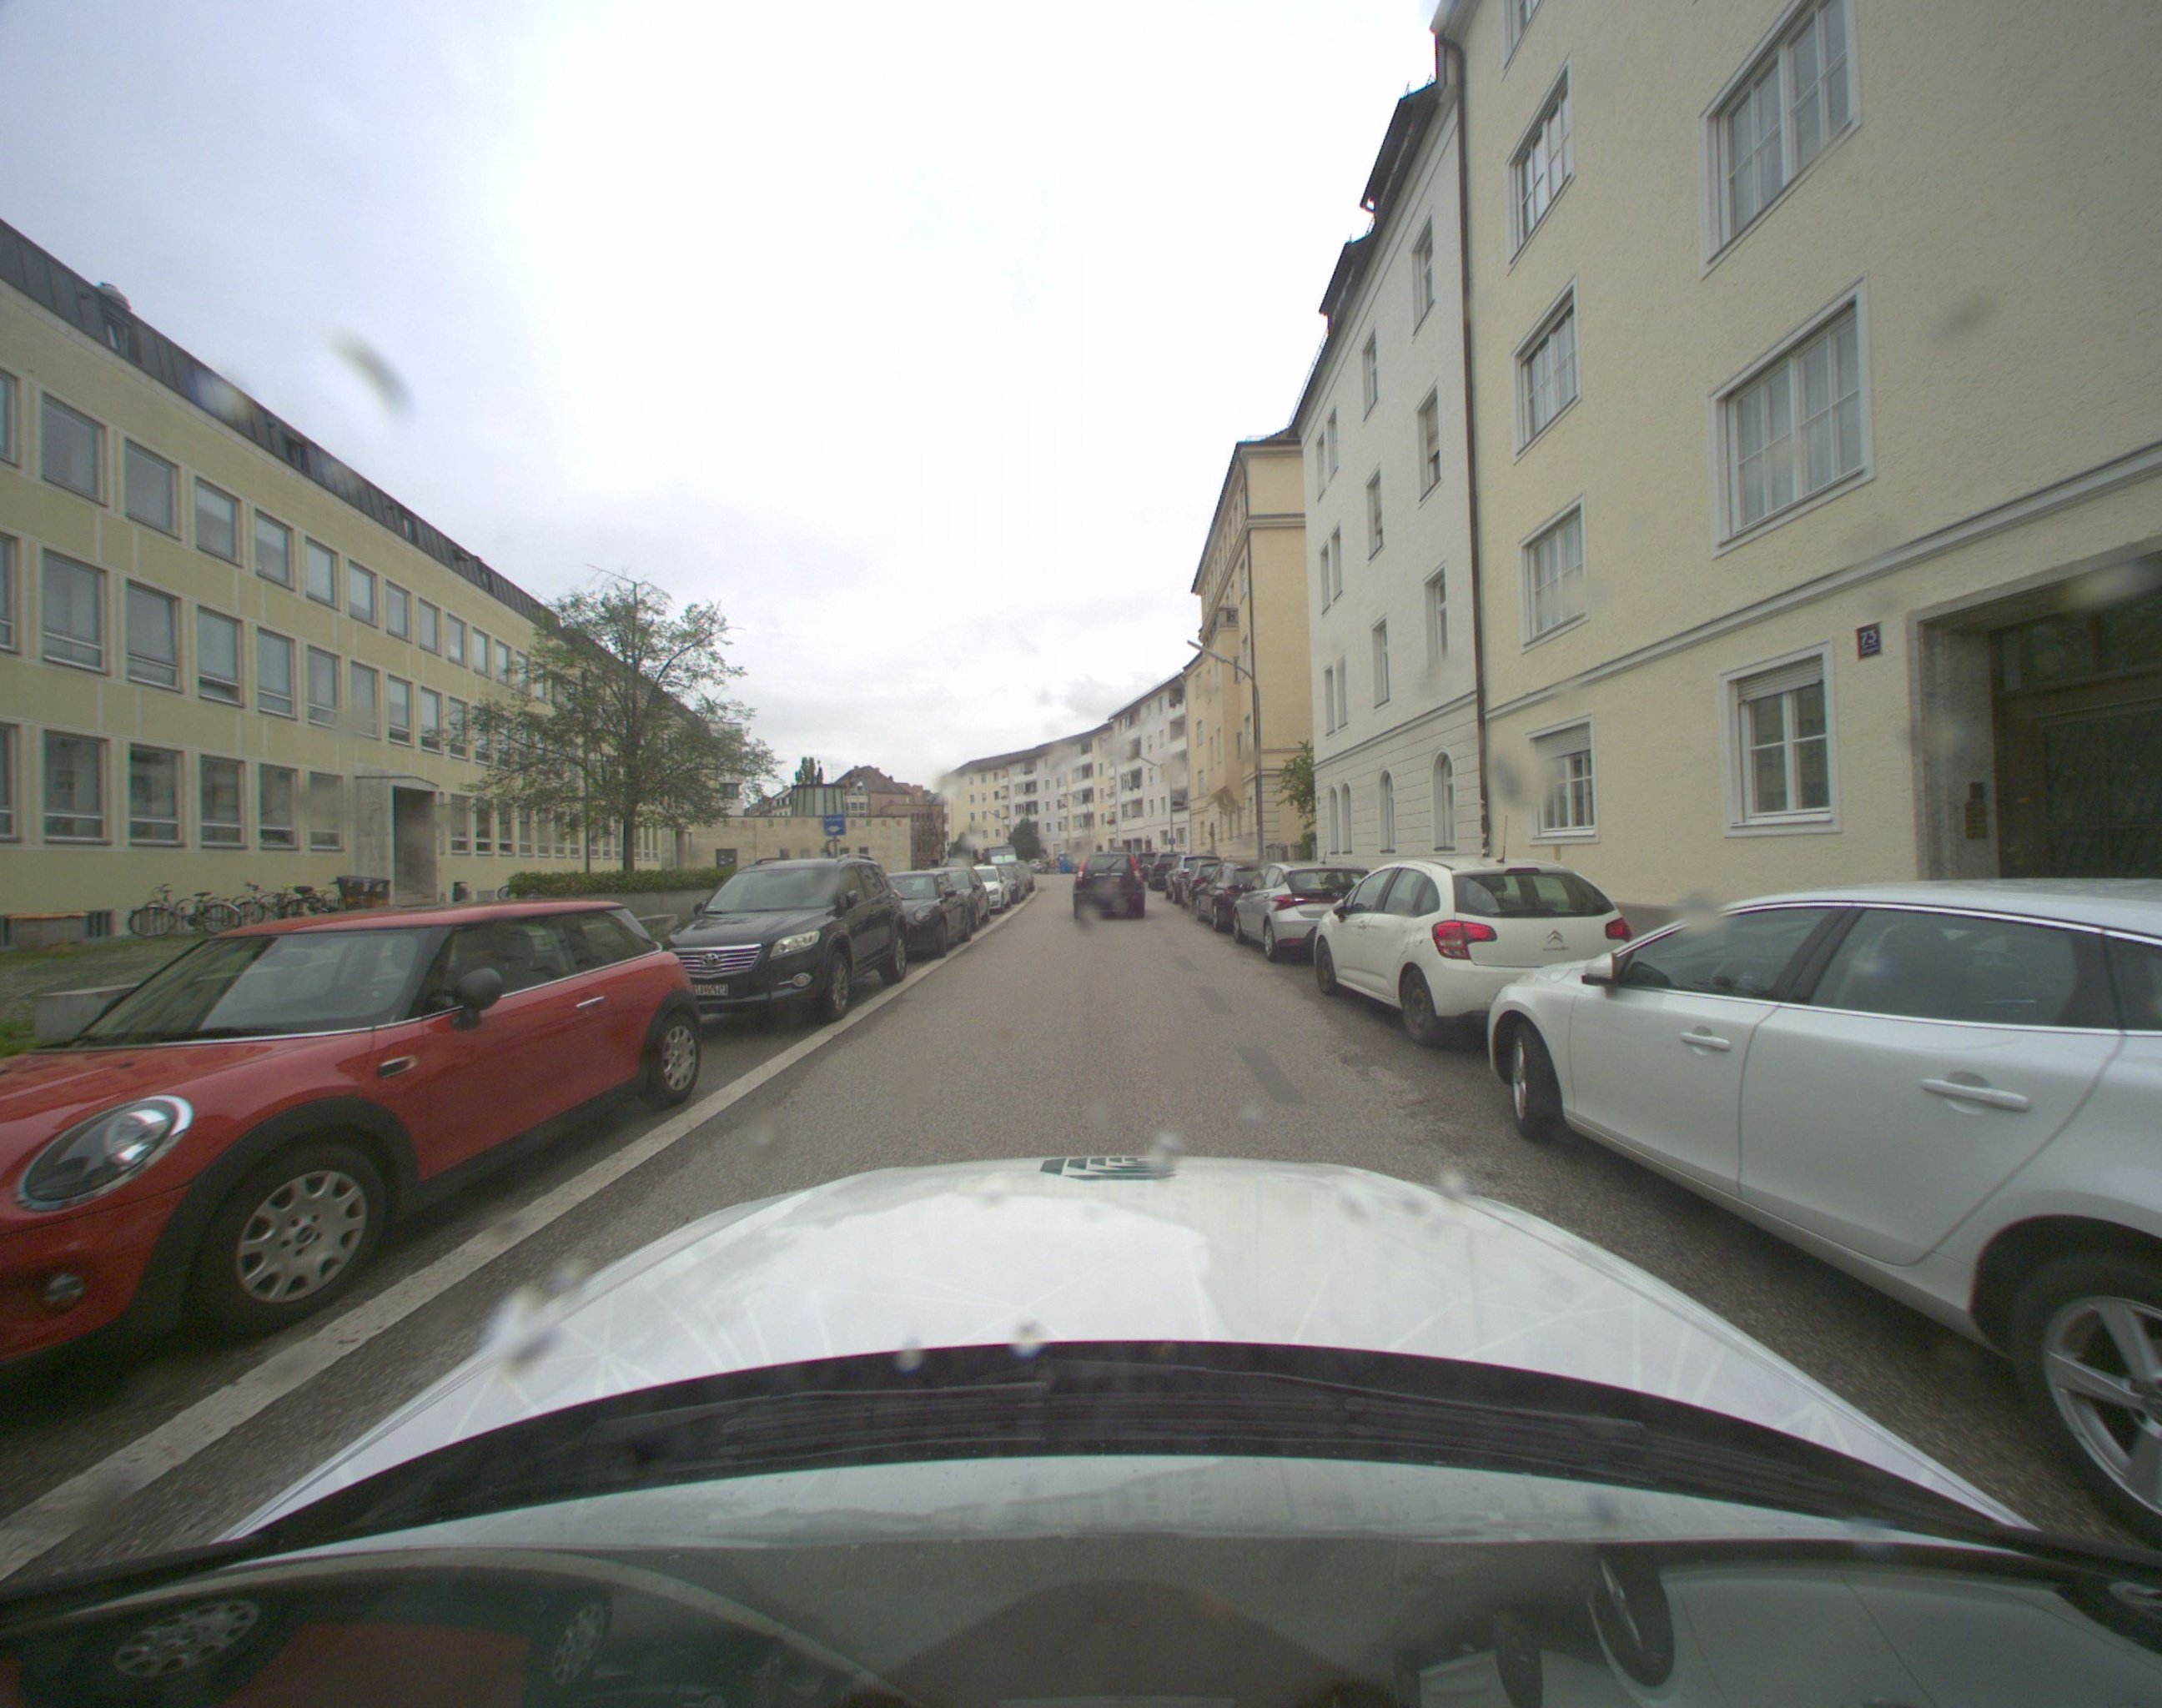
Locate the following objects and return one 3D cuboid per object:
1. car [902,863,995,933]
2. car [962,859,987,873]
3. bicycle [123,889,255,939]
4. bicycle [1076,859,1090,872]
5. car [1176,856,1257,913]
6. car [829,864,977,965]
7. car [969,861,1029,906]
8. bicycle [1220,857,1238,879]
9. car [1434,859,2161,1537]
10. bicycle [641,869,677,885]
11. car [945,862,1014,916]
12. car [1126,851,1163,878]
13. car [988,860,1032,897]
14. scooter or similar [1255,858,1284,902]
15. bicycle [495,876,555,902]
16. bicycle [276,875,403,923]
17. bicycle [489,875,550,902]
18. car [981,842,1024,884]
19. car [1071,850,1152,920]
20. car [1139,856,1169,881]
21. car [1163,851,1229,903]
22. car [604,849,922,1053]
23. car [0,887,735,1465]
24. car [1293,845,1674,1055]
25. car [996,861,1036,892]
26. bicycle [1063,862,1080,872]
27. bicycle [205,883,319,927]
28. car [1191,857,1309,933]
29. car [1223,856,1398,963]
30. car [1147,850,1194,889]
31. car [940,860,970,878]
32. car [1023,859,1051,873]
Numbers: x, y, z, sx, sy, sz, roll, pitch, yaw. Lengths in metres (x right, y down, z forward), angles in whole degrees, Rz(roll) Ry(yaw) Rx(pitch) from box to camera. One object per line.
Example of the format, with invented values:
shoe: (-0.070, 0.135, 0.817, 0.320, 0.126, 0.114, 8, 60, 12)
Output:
car: (-3.145, 0.992, 20.023, 1.652, 1.453, 3.972, -3, 0, -1)
car: (-14.270, 1.598, 109.051, 1.736, 1.878, 3.959, 0, 0, -32)
bicycle: (-20.075, 1.335, 18.372, 1.950, 1.014, 0.622, -1, 0, -16)
bicycle: (0.201, 1.259, 87.232, 0.970, 1.388, 2.551, -1, -1, -14)
car: (3.770, 0.813, 23.224, 1.673, 1.427, 4.088, -1, -1, 1)
car: (-3.028, 0.963, 14.640, 1.674, 1.453, 3.870, -3, 0, 1)
car: (-3.032, 1.054, 30.754, 1.749, 1.453, 4.395, -3, 0, 0)
bicycle: (7.808, 0.714, 42.970, 0.577, 1.083, 1.954, -4, 0, 2)
car: (3.151, 0.744, 3.173, 1.673, 1.410, 4.443, -1, -1, 1)
bicycle: (-27.768, 1.525, 53.620, 1.949, 1.014, 0.623, -1, 0, -13)
car: (-3.106, 1.040, 25.546, 1.652, 1.453, 4.070, -3, 0, -1)
car: (4.264, 0.696, 55.232, 1.776, 1.807, 4.266, 0, -1, -7)
car: (-3.072, 1.037, 35.817, 1.652, 1.453, 3.310, -3, 0, -1)
scooter or similar: (5.198, 0.712, 22.509, 0.483, 1.164, 1.172, -1, -1, -1)
bicycle: (-23.162, 1.436, 33.971, 1.948, 1.014, 0.623, -1, 0, -13)
bicycle: (-21.119, 1.253, 23.254, 2.439, 1.248, 1.051, -1, 0, -16)
bicycle: (-22.860, 1.395, 33.198, 1.946, 1.014, 0.623, -1, 0, -9)
car: (-5.570, 0.608, 56.926, 2.166, 2.641, 5.991, -3, 0, -12)
car: (0.717, 0.764, 21.707, 1.886, 1.647, 3.988, -1, -1, -2)
car: (4.445, 0.879, 50.316, 1.701, 1.447, 3.832, 0, -1, 3)
car: (3.901, 0.746, 28.308, 1.716, 1.634, 4.458, -1, -1, 1)
car: (-3.250, 0.868, 9.432, 1.738, 1.666, 4.449, -5, 0, 1)
car: (-3.516, 0.937, 4.129, 1.737, 1.387, 3.920, -1, 0, 2)
car: (3.467, 0.714, 8.000, 1.673, 1.481, 4.166, -1, -1, 0)
car: (-3.177, 1.078, 40.649, 1.795, 1.406, 4.450, -3, 0, -3)
bicycle: (-1.081, 1.498, 94.956, 1.872, 1.091, 0.561, -1, -1, -21)
bicycle: (-20.740, 1.271, 20.660, 1.950, 1.014, 0.622, -1, 0, -16)
car: (3.552, 0.816, 17.883, 1.673, 1.427, 4.390, -1, -1, 0)
car: (3.528, 0.783, 13.301, 1.673, 1.427, 4.166, -1, -1, 0)
car: (4.136, 0.708, 38.224, 1.862, 1.717, 4.867, 0, -1, 2)
car: (-12.236, 1.456, 79.096, 1.687, 1.707, 4.475, -1, -1, -25)
car: (-5.006, 1.344, 92.122, 1.733, 1.483, 3.965, 0, 0, -26)
